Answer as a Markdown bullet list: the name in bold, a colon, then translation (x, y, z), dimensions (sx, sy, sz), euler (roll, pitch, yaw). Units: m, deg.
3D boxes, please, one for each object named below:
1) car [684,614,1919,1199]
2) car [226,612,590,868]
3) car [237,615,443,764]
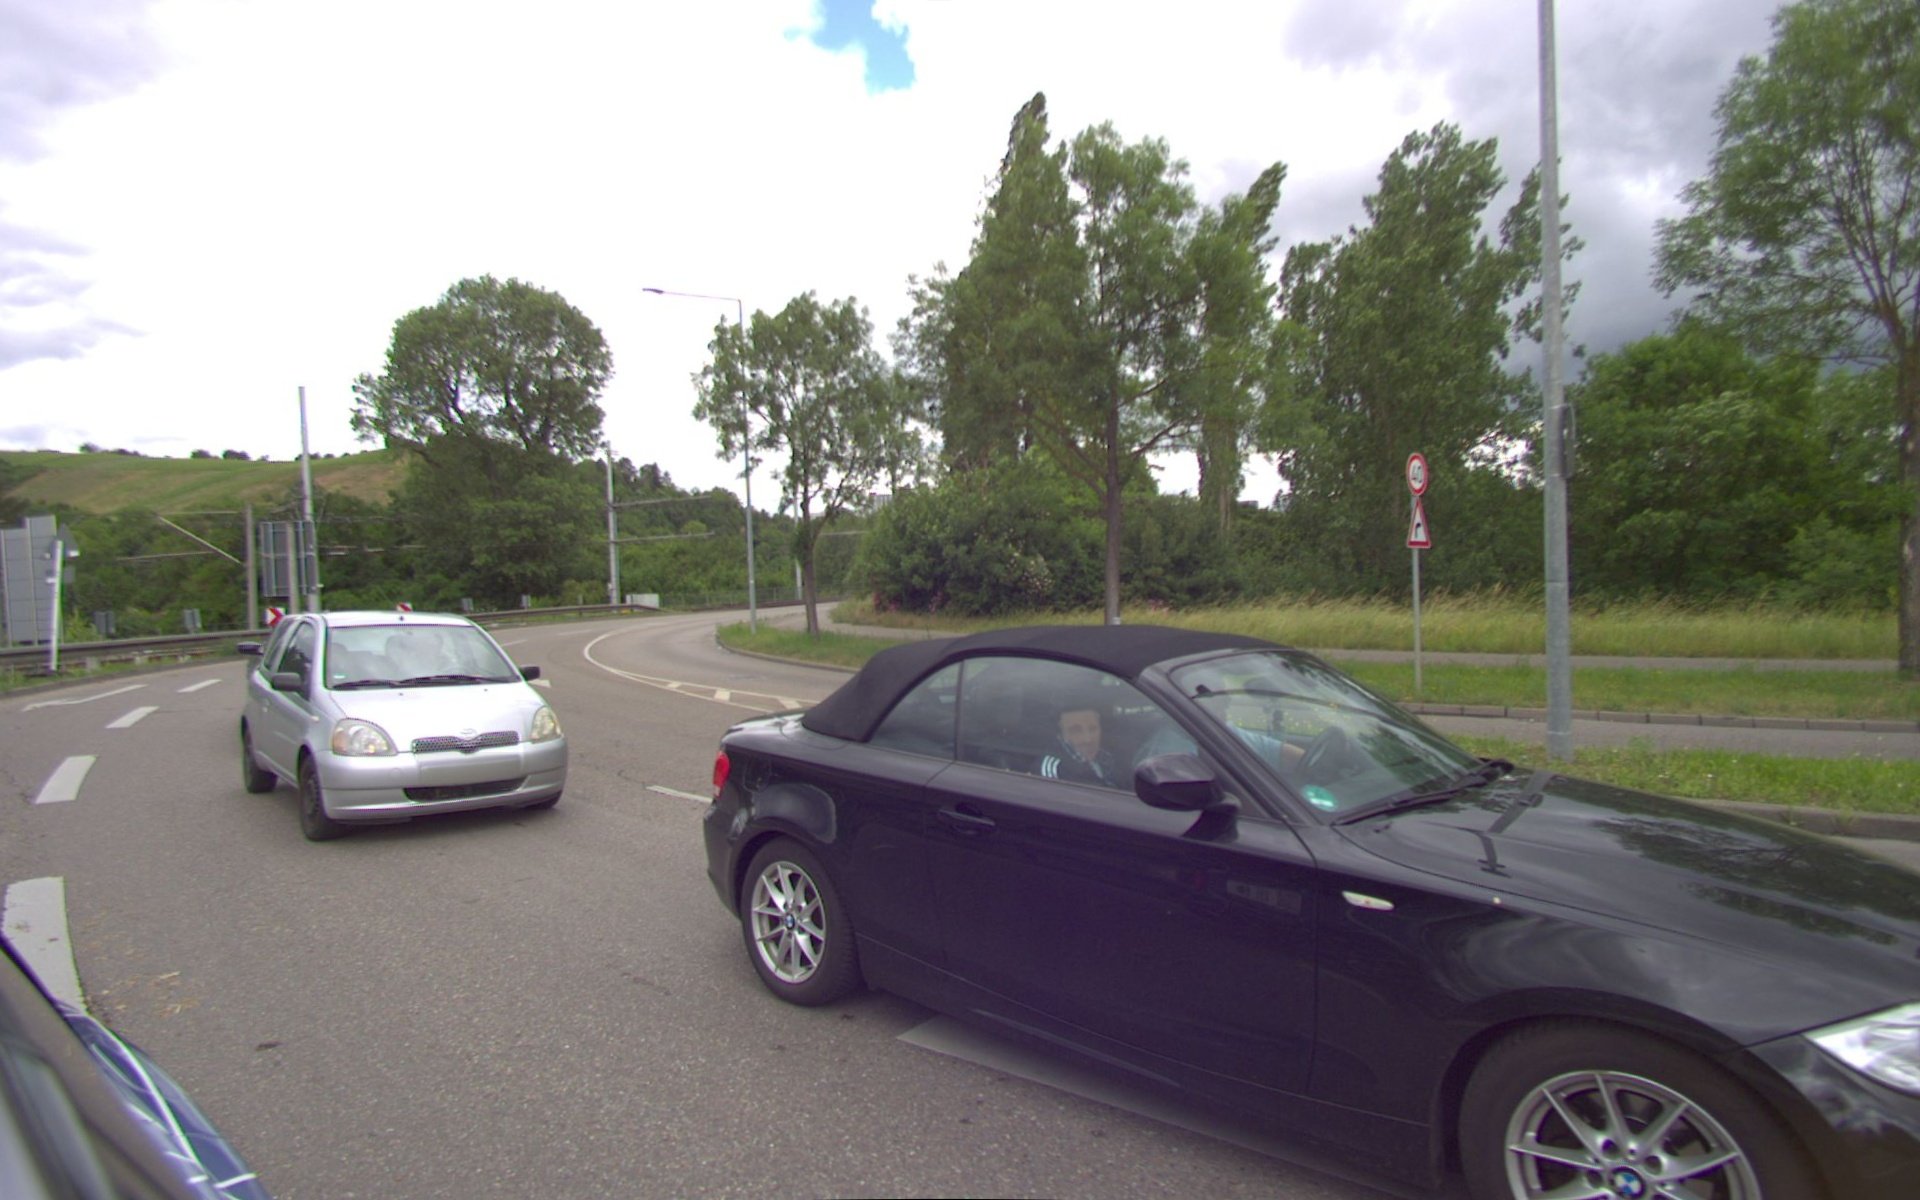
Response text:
- **car**: translation (0.910, 0.769, 3.283), dimensions (4.083, 1.378, 1.546), euler (-2, -1, 42)
- **car**: translation (-4.452, 0.860, 7.906), dimensions (1.648, 1.481, 3.632), euler (-1, 0, -43)
- **car**: translation (-7.915, 0.936, 12.731), dimensions (1.847, 1.488, 4.976), euler (0, -1, -35)
